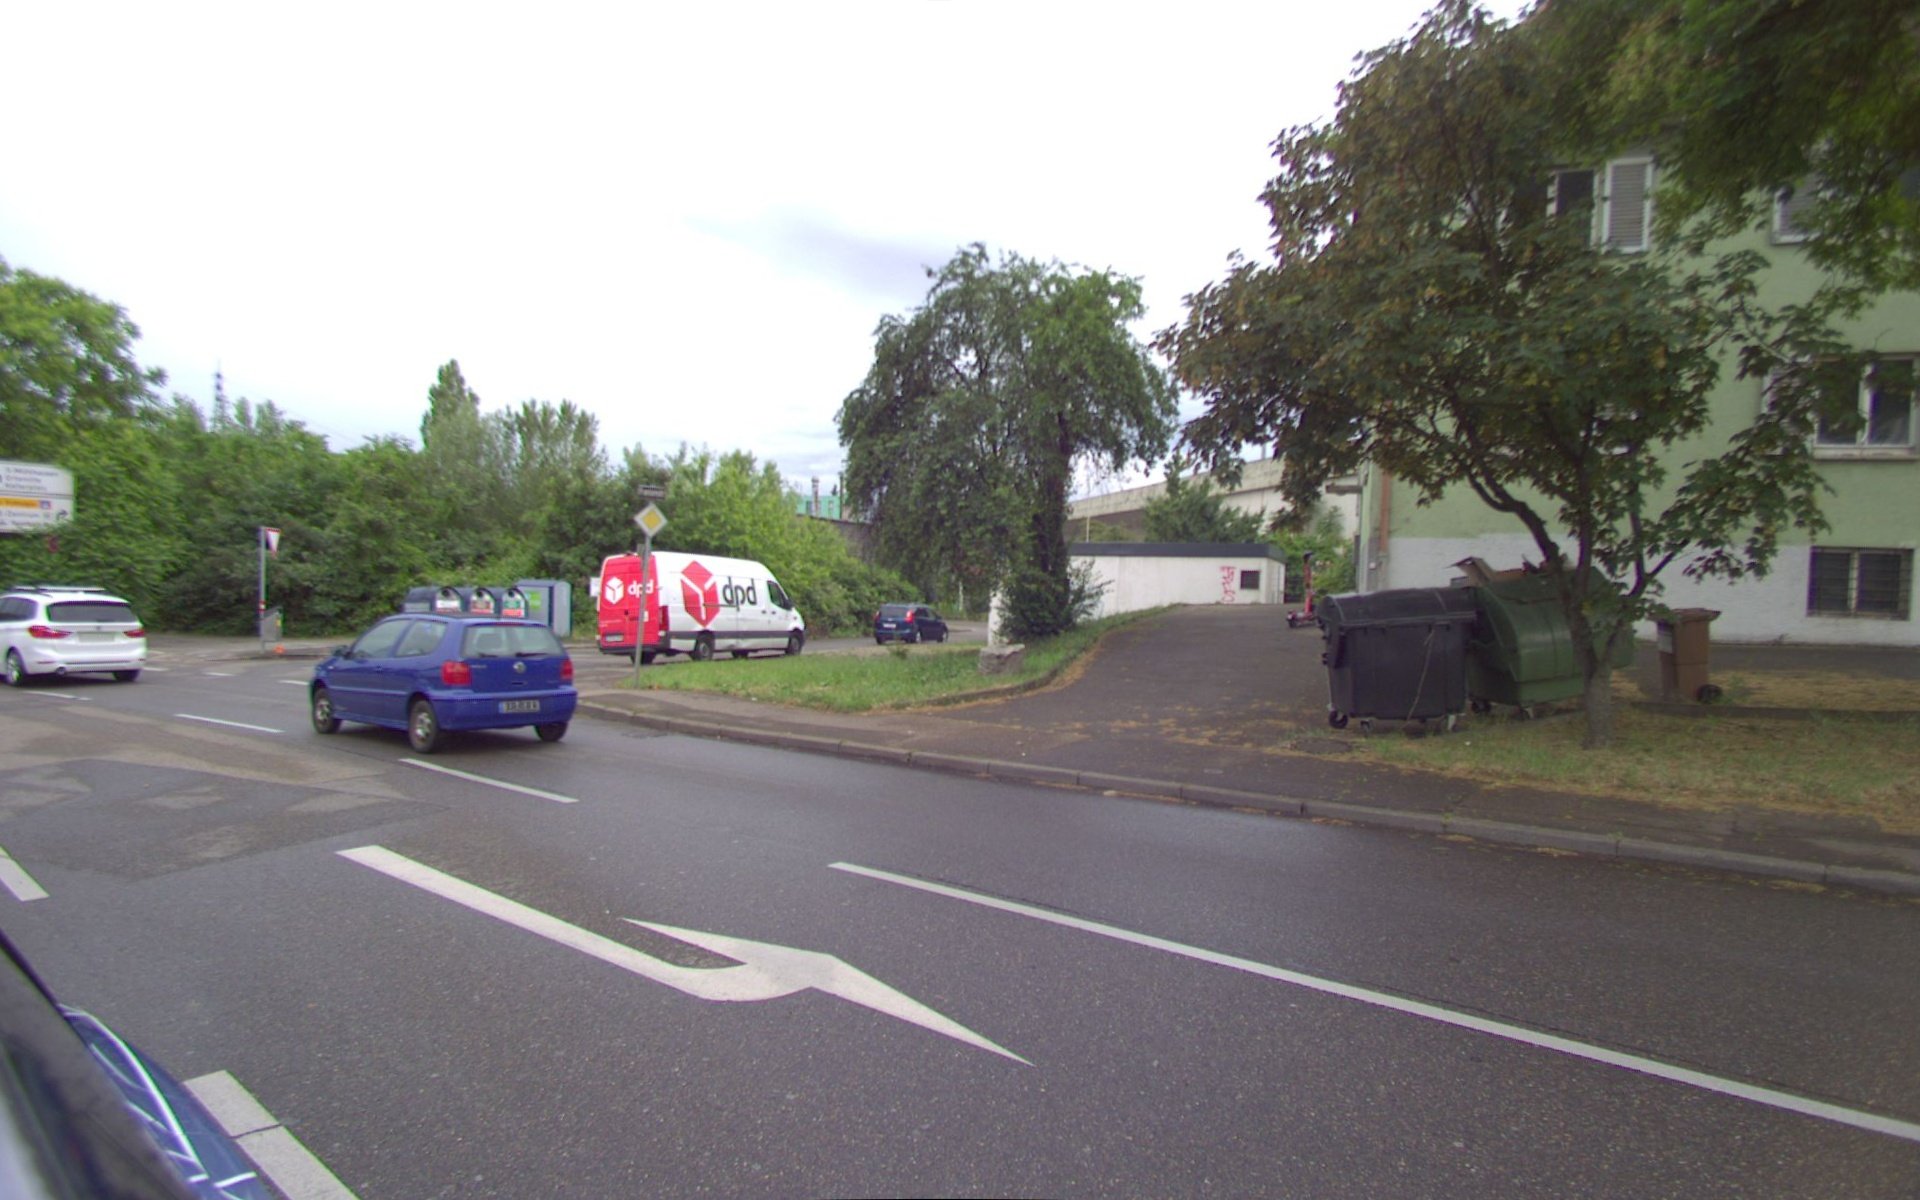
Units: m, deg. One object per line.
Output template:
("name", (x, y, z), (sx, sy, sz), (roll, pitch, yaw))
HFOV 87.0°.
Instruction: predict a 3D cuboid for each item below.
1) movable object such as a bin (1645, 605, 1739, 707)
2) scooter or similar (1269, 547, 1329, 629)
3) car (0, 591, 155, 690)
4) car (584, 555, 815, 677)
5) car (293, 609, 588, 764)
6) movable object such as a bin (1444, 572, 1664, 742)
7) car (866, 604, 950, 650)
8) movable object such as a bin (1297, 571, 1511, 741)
("movable object such as a bin", (7.377, 0.541, 10.202), (0.723, 0.964, 0.551), (1, 0, 41))
("scooter or similar", (5.706, -0.228, 17.005), (0.529, 1.283, 1.507), (1, 4, 35))
("car", (-16.792, 0.649, 18.428), (4.314, 1.590, 1.820), (1, 1, 28))
("car", (-6.316, 0.321, 25.795), (2.246, 2.675, 6.777), (1, 0, 20))
("car", (-5.958, 0.839, 11.455), (3.692, 1.436, 1.582), (0, 0, 38))
("movable object such as a bin", (5.875, 0.519, 10.090), (1.440, 1.448, 1.102), (-5, 3, -6))
("car", (-2.013, 1.025, 40.278), (1.984, 1.642, 4.227), (1, 0, 18))
("movable object such as a bin", (4.419, 0.510, 10.201), (1.440, 1.448, 1.296), (-5, 3, -6))
